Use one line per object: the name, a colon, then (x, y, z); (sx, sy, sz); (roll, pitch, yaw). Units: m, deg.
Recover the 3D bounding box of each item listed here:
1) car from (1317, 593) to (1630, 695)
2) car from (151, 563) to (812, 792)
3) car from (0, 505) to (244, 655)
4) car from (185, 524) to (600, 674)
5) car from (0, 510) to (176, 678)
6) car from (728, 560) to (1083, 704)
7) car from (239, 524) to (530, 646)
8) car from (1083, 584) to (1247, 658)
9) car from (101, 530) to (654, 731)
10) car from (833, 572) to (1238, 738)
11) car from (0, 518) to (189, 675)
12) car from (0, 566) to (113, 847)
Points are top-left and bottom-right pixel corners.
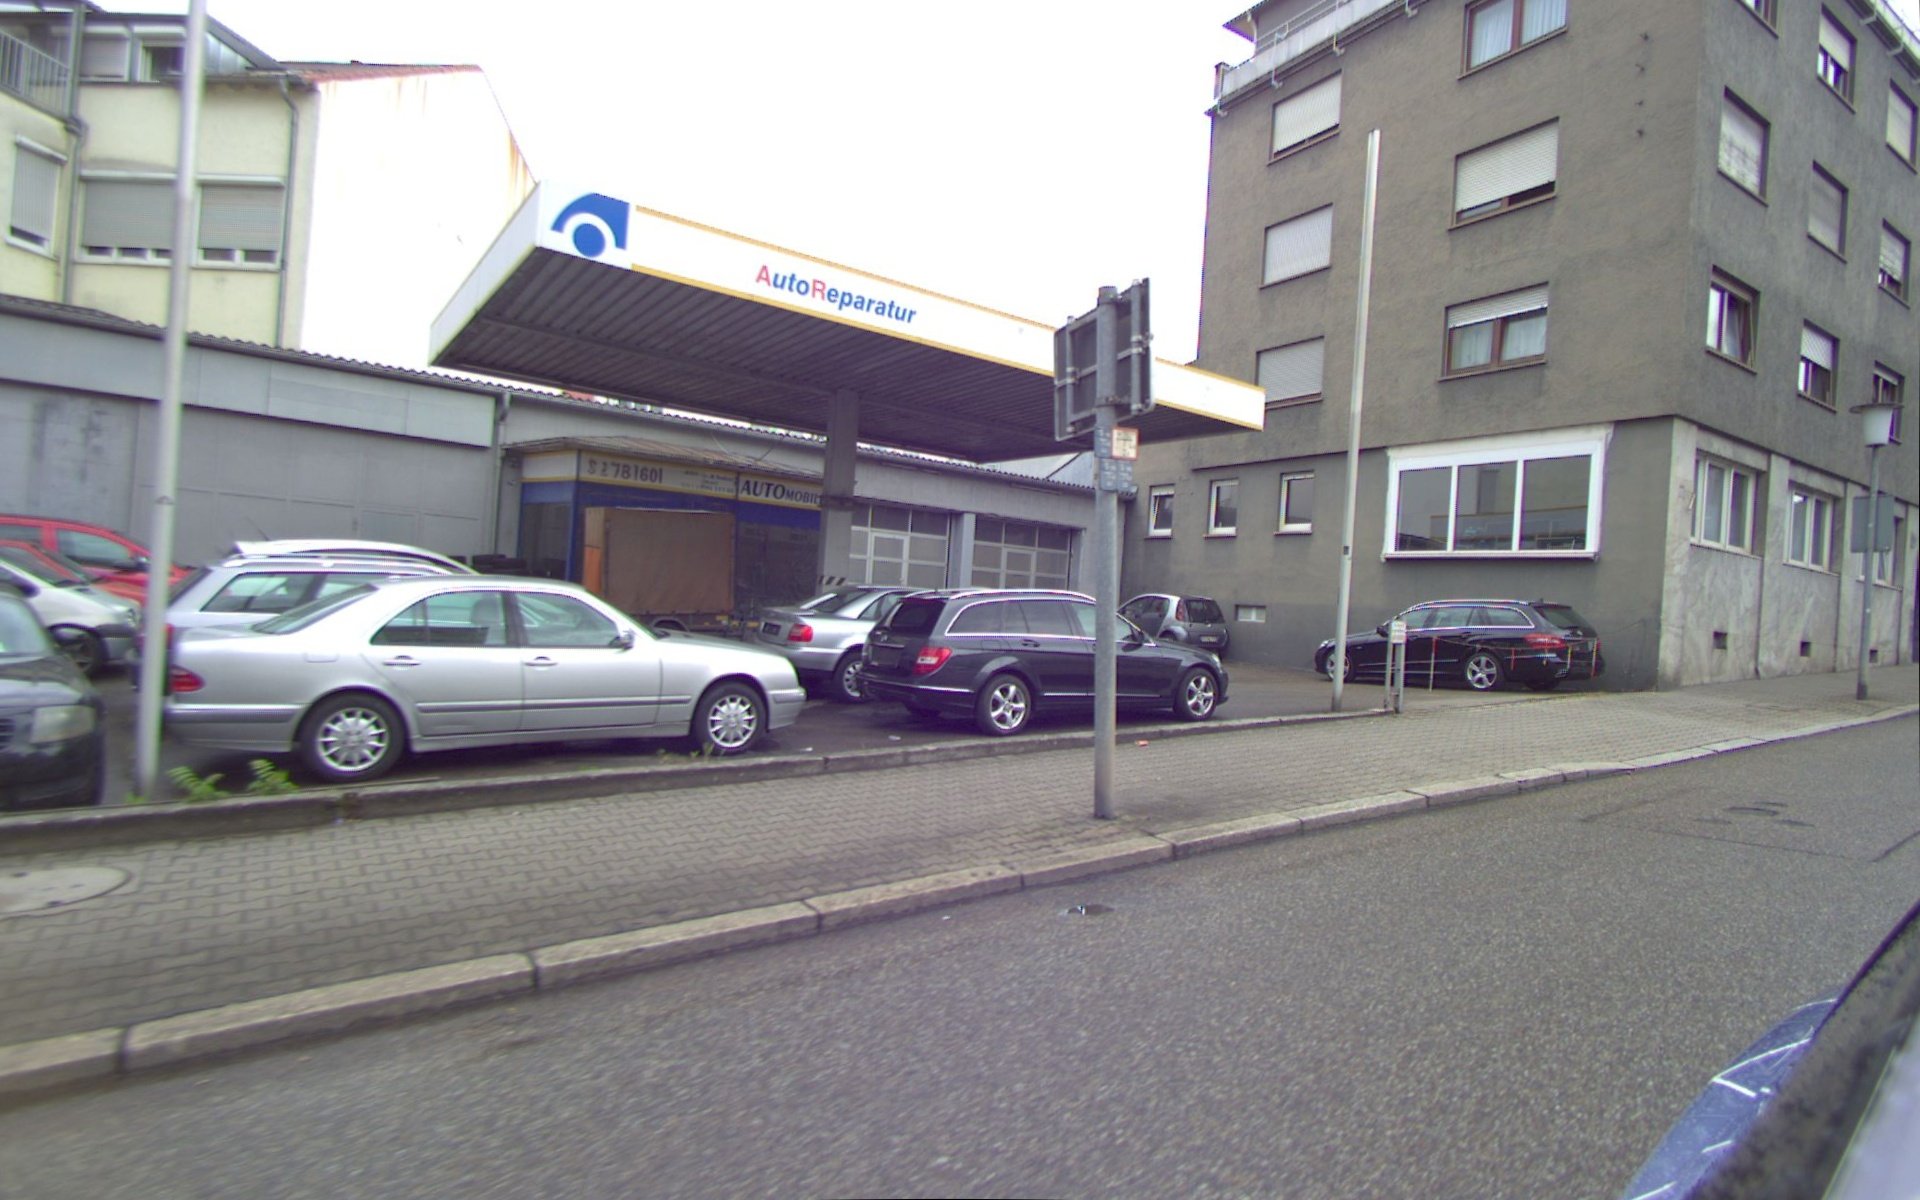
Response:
car: (8.730, 0.661, 17.649); (1.960, 1.523, 4.540); (1, 0, -30)
car: (-3.703, 0.489, 8.428); (4.524, 1.433, 1.796); (1, 2, -32)
car: (-12.417, -0.285, 13.989); (4.026, 1.934, 1.795); (1, 1, -34)
car: (-7.057, -0.026, 12.896); (4.333, 1.620, 1.795); (1, 2, -34)
car: (-10.276, -0.119, 10.322); (3.450, 1.619, 1.796); (1, 4, -34)
car: (-0.653, 0.415, 13.510); (4.332, 1.529, 1.797); (2, 4, -34)
car: (-9.199, -0.232, 16.338); (3.872, 1.752, 1.795); (1, 1, -34)
car: (4.904, 0.466, 24.628); (1.758, 1.472, 3.759); (3, 1, -31)
car: (-5.573, 0.271, 10.154); (4.404, 1.563, 1.797); (2, 4, -34)
car: (0.940, 0.511, 11.398); (4.351, 1.530, 1.795); (1, 2, -34)
car: (-11.501, -0.072, 11.781); (3.872, 1.752, 1.795); (1, 1, -34)
car: (-6.730, 0.513, 6.350); (3.985, 1.418, 1.646); (3, 2, 42)
